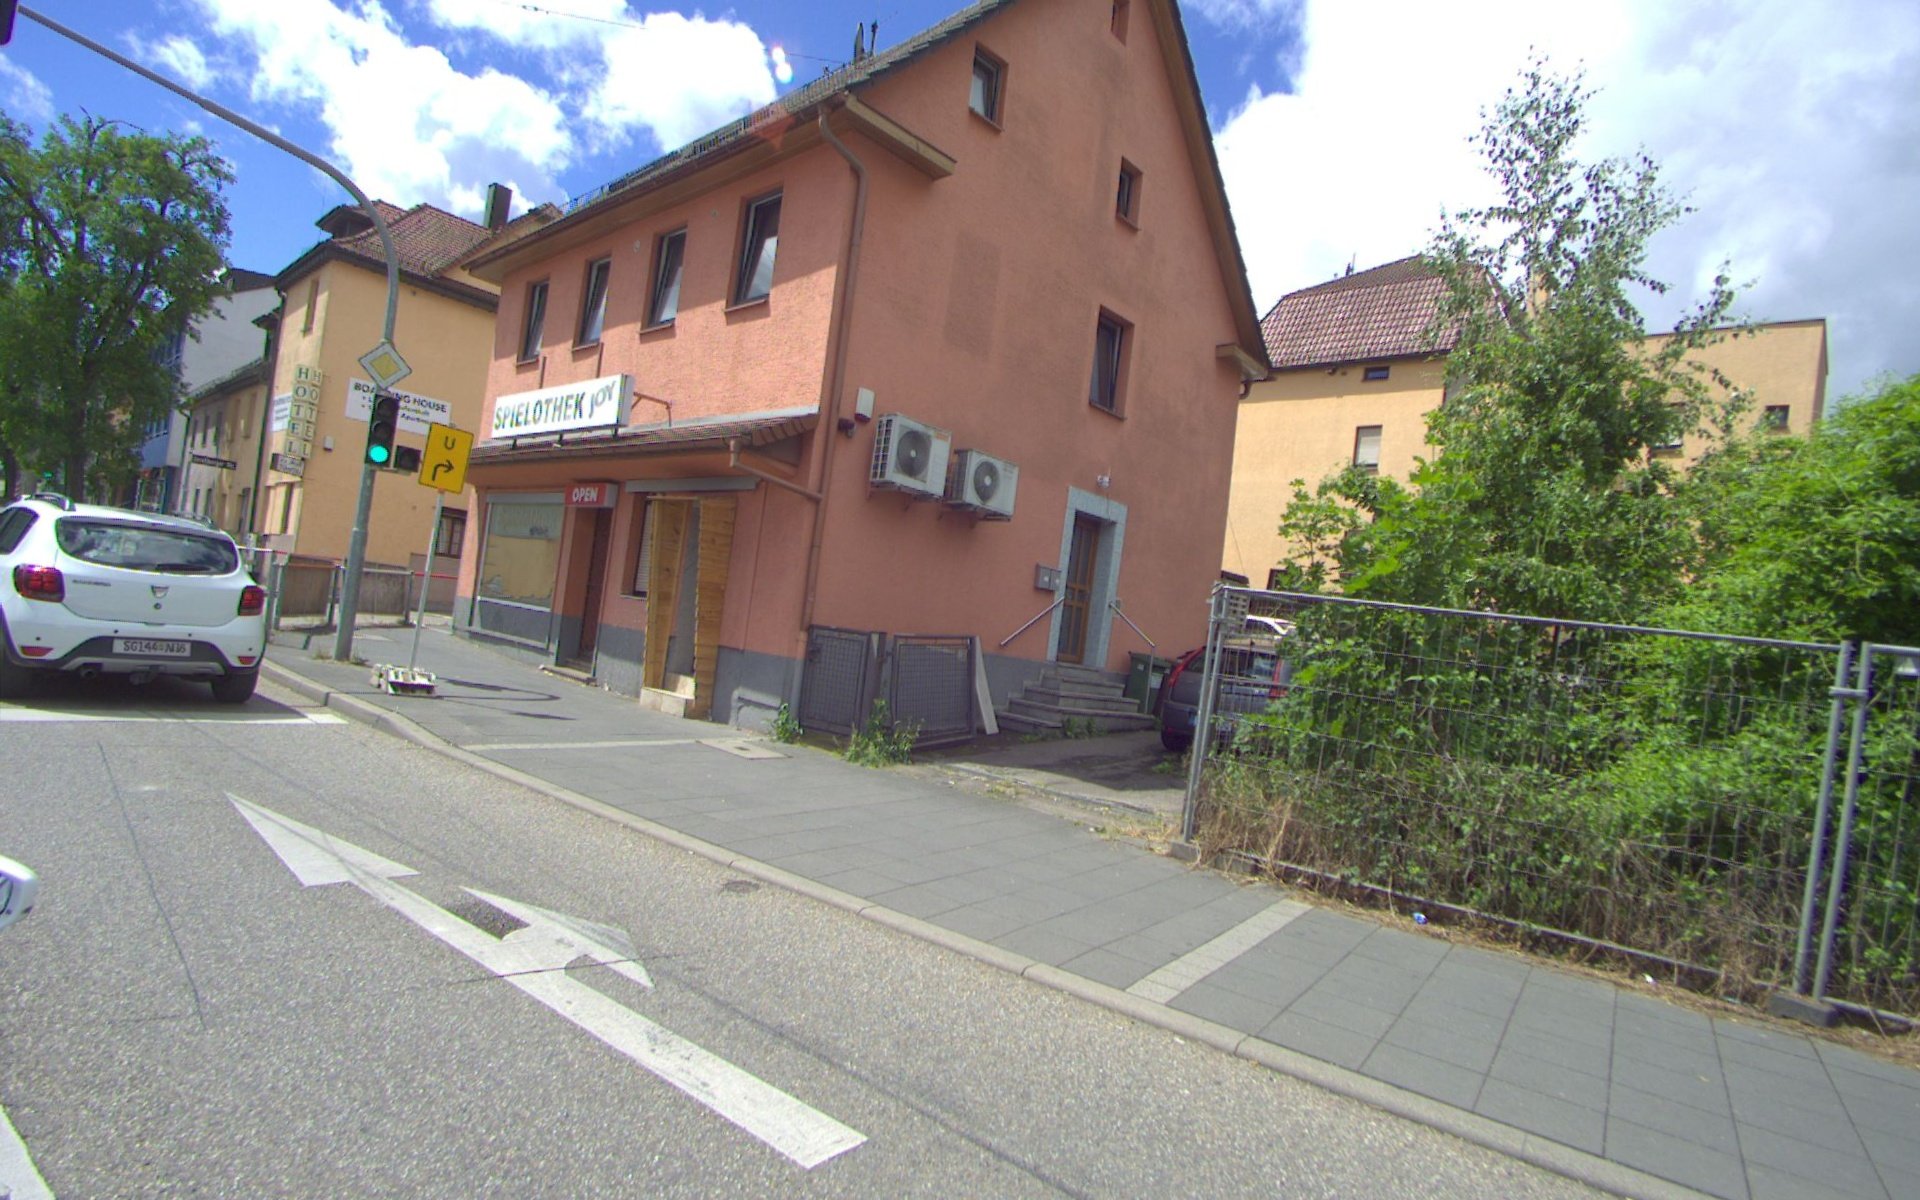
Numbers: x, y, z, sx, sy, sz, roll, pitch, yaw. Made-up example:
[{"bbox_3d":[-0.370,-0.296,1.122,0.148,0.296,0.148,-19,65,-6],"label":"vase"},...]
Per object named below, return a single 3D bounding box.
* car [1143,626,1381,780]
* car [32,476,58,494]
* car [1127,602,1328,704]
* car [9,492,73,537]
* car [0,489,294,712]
[{"bbox_3d":[3.798,1.197,12.473,1.627,1.516,2.796,7,2,43],"label":"car"},{"bbox_3d":[-114.028,-14.321,125.389,1.985,1.682,3.957,7,-1,-39],"label":"car"},{"bbox_3d":[6.216,1.219,23.639,3.947,1.804,1.990,7,-1,44],"label":"car"},{"bbox_3d":[-39.518,-3.676,43.234,1.782,1.615,3.950,7,-1,-45],"label":"car"},{"bbox_3d":[-7.669,-0.081,8.919,3.736,1.569,1.714,7,0,37],"label":"car"}]
